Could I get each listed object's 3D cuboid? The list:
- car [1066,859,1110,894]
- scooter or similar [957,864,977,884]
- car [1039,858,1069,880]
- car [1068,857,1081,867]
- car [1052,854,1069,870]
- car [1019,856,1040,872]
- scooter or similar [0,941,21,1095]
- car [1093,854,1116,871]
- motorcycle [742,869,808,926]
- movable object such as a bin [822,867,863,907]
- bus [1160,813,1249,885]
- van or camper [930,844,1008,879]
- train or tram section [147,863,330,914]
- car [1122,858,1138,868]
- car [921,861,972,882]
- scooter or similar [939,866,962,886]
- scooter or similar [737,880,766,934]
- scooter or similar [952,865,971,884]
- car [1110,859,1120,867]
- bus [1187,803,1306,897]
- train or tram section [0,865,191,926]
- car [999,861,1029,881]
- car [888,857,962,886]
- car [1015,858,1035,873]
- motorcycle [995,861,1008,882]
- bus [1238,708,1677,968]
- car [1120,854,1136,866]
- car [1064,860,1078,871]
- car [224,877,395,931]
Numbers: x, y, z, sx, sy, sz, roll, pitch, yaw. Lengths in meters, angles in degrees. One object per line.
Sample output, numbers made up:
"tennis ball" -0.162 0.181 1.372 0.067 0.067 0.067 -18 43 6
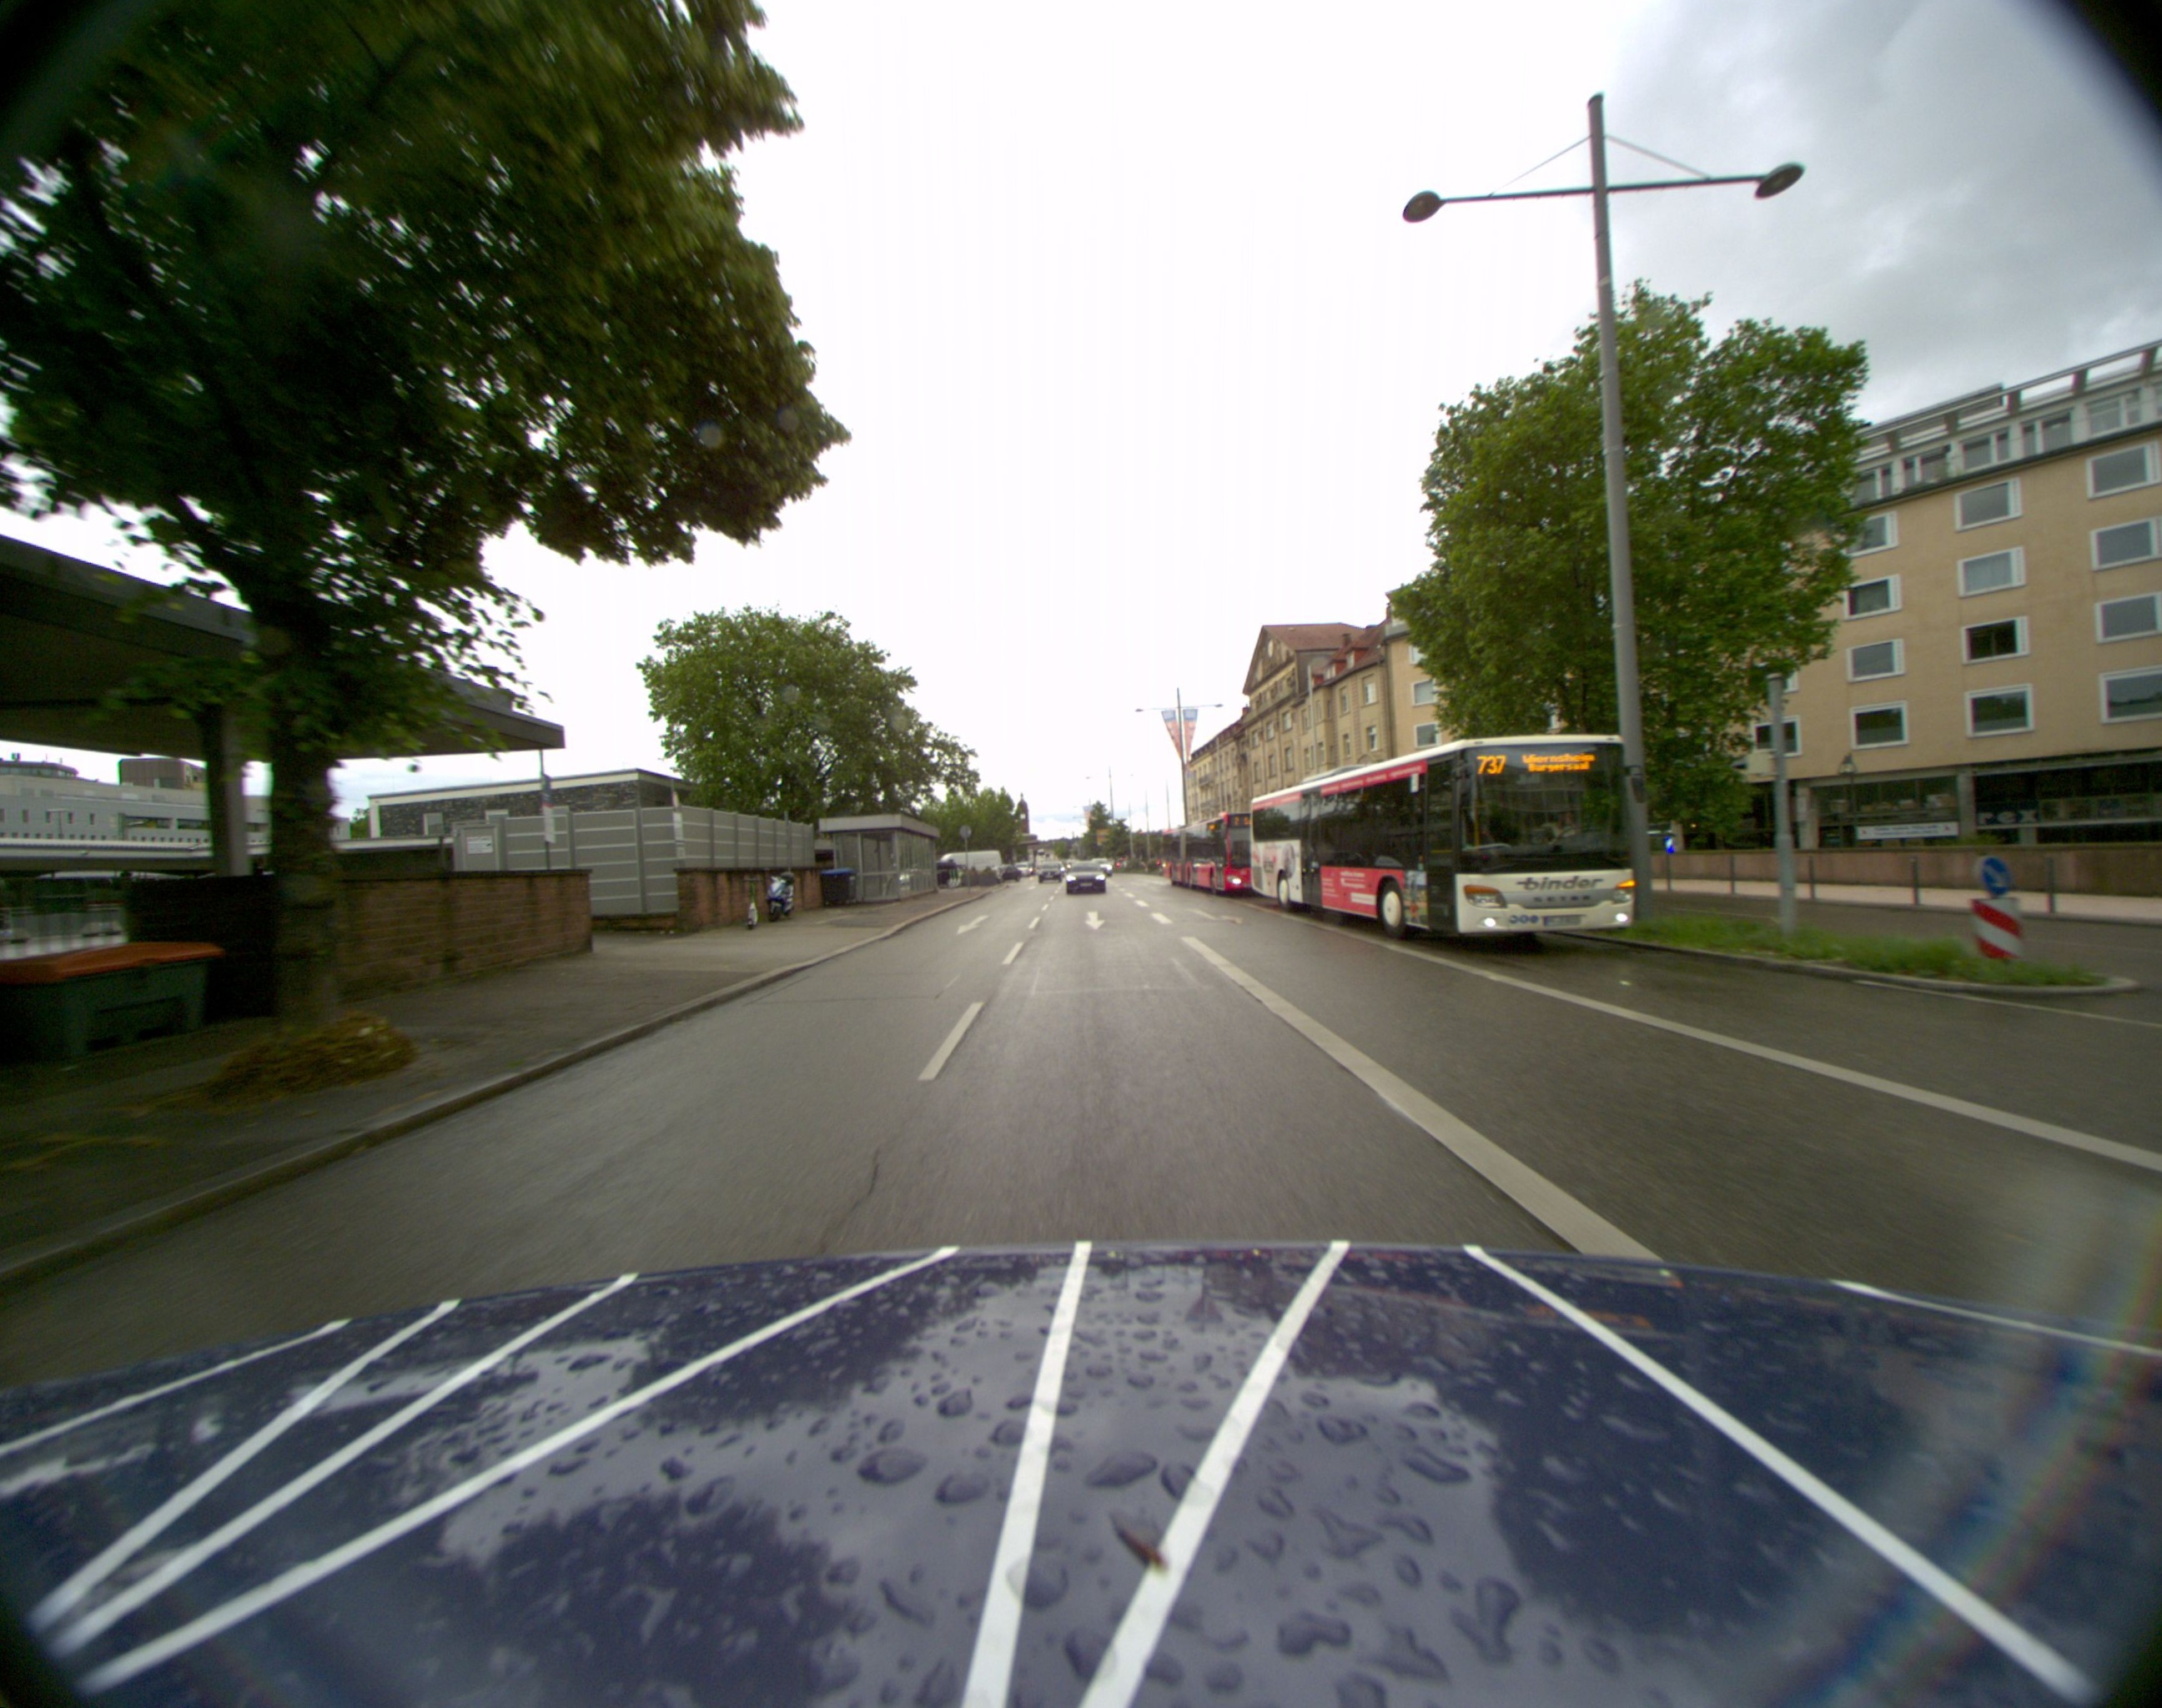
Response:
"car" 0.351 0.983 35.215 1.871 1.466 3.826 -2 0 2
"scooter or similar" -7.223 1.258 48.184 0.413 1.148 1.265 -4 0 31
"car" -1.945 1.043 55.548 1.871 1.466 3.826 -2 0 2
"car" -1.132 1.280 123.419 1.984 1.438 3.907 -1 0 -2
"car" -2.004 0.795 73.651 1.620 1.477 3.669 -1 0 -2
"car" -5.733 1.075 85.369 1.824 1.672 4.417 -2 0 2
"scooter or similar" -8.397 1.257 5.061 0.494 1.146 1.545 -2 1 -3
"car" 2.070 0.785 68.459 1.983 1.438 3.908 -1 0 1
"motorcycle" -8.048 1.111 20.122 0.794 1.340 2.456 -2 0 -3
"movable object such as a bin" -8.462 1.144 27.048 1.037 1.330 1.317 -2 0 -2
"bus" 6.130 -0.222 39.461 2.817 3.227 9.911 -1 0 -1
"van or camper" -10.006 0.648 68.139 6.540 2.853 2.275 -2 0 -31
"train or tram section" -68.838 2.639 62.720 2.776 3.577 11.497 -2 0 -4
"car" 7.372 1.288 114.566 1.796 1.398 4.983 -2 0 -3
"car" -10.722 1.392 60.433 3.595 1.515 1.759 -2 0 -26
"scooter or similar" -8.201 1.387 47.853 1.067 1.148 1.667 -3 1 0
"scooter or similar" -7.764 1.229 17.938 0.495 1.146 1.712 -2 1 -20
"scooter or similar" -7.608 1.309 48.405 0.413 1.148 1.265 -4 0 31
"car" 7.248 1.887 161.904 1.847 1.455 5.029 -2 0 -2
"bus" 6.221 -0.136 30.166 2.759 3.114 8.842 -1 0 0
"train or tram section" -67.944 2.681 51.520 2.747 3.582 10.926 -2 0 -4
"car" -5.281 1.346 60.462 1.871 1.466 3.826 -2 0 2
"car" -11.205 1.213 54.780 4.707 1.863 2.104 -2 0 -32
"car" -5.839 1.172 79.717 1.661 1.466 3.589 -2 0 1
"motorcycle" -5.323 1.174 51.030 0.645 1.344 2.109 -2 0 0
"bus" 6.411 -0.216 16.567 2.963 3.419 12.556 -2 0 -2
"car" 7.919 0.956 128.637 1.926 1.962 4.853 -2 0 -5
"car" -1.415 1.582 106.396 1.984 1.438 3.907 -1 0 -2
"car" -30.471 1.942 30.121 4.695 1.863 2.109 -2 0 2
